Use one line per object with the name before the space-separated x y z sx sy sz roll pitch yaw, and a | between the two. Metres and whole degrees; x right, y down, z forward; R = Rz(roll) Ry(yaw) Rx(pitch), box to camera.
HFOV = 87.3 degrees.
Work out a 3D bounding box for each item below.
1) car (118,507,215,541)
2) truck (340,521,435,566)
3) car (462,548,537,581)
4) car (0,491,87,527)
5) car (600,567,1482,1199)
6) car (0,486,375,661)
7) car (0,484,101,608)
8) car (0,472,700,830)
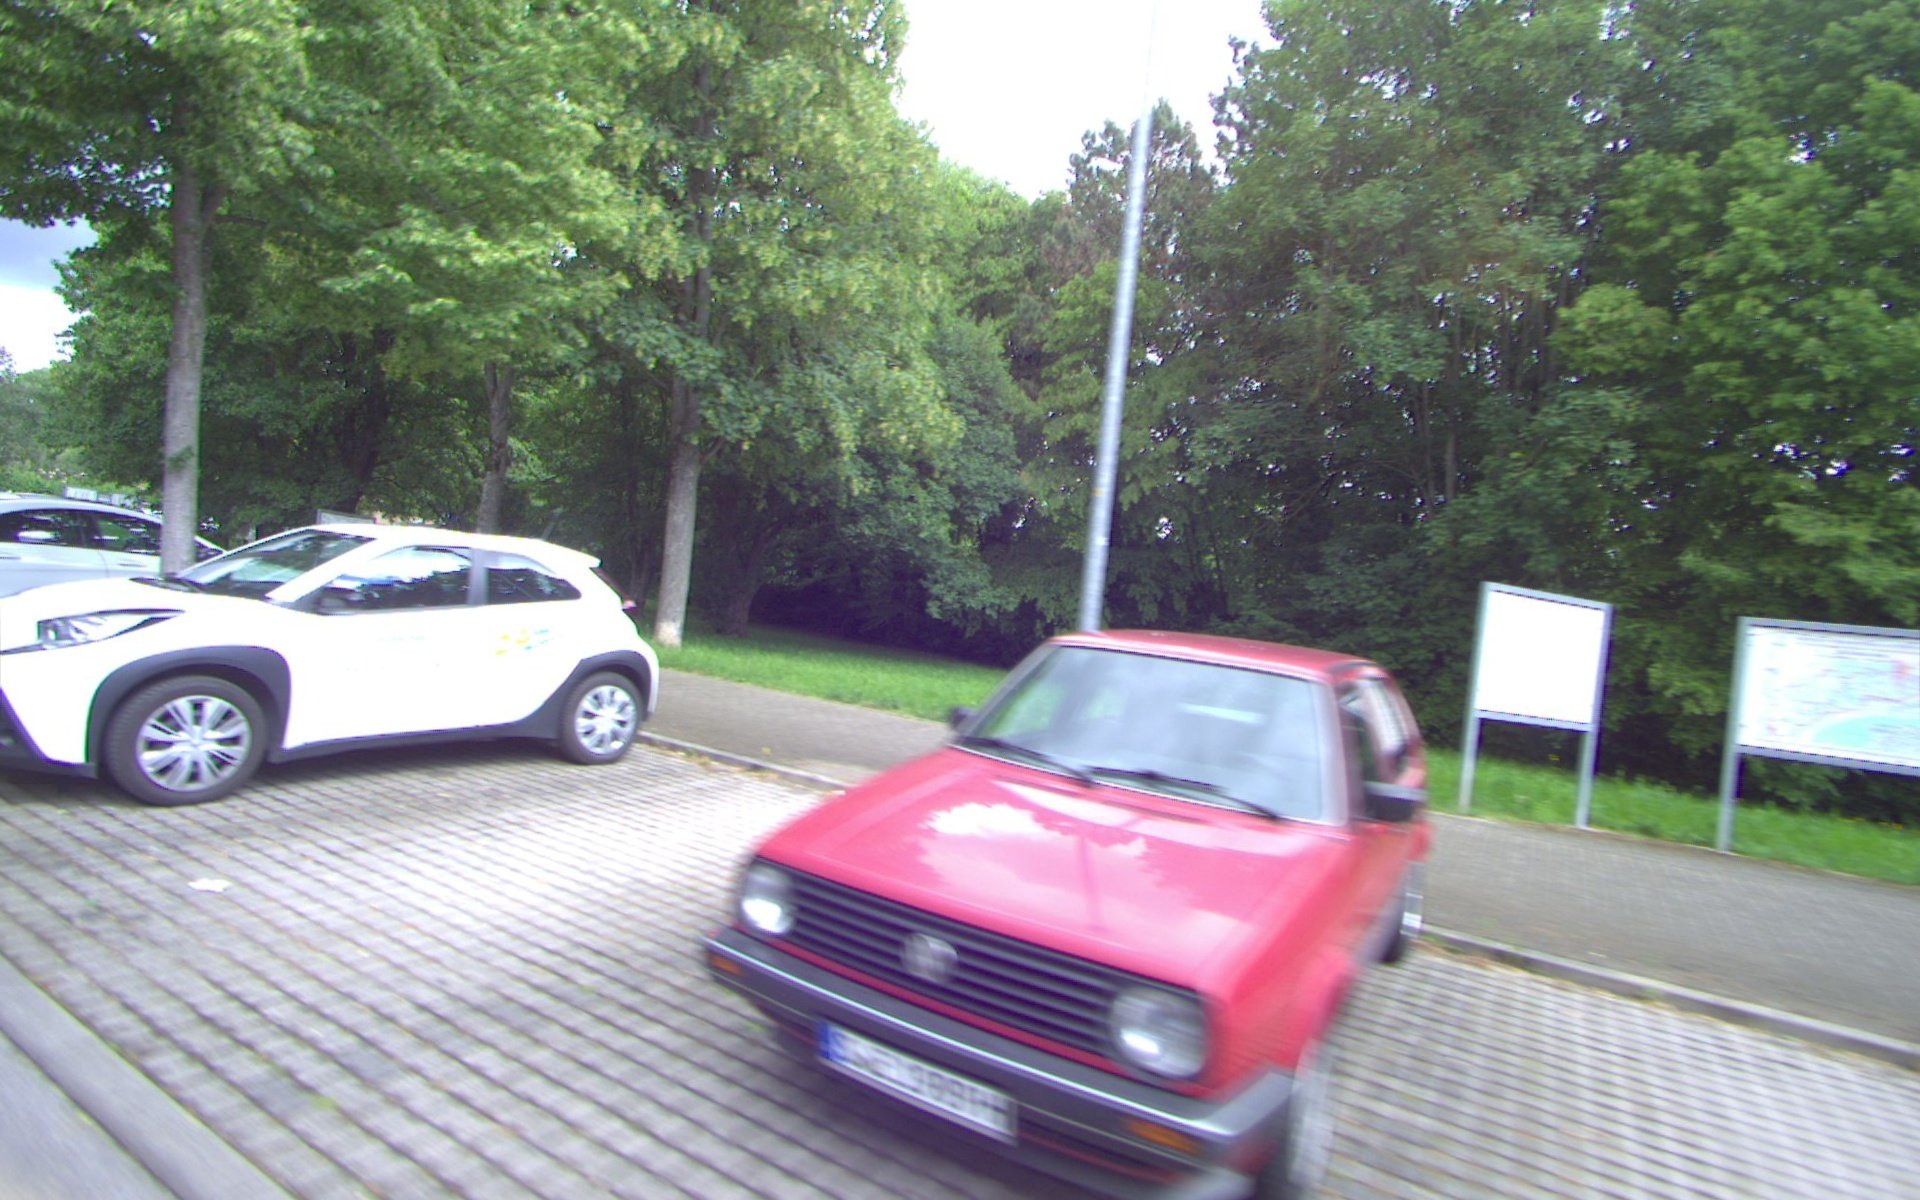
car | -49.833 -4.745 63.238 1.678 1.445 4.427 6 -1 38
truck | -41.901 -4.113 73.757 2.160 2.455 5.504 6 -1 38
car | -39.217 -2.999 85.825 2.106 2.081 5.318 6 -1 38
car | -53.680 -5.308 58.297 1.677 1.445 4.392 6 -1 37
car | 0.880 0.809 3.971 1.786 1.440 4.058 6 1 30
car | -8.437 -0.266 9.668 1.816 1.473 4.488 6 1 31
car | -13.027 -0.815 11.815 1.821 1.475 4.074 7 1 32
car | -3.815 0.244 6.371 1.851 1.535 3.840 7 1 34
